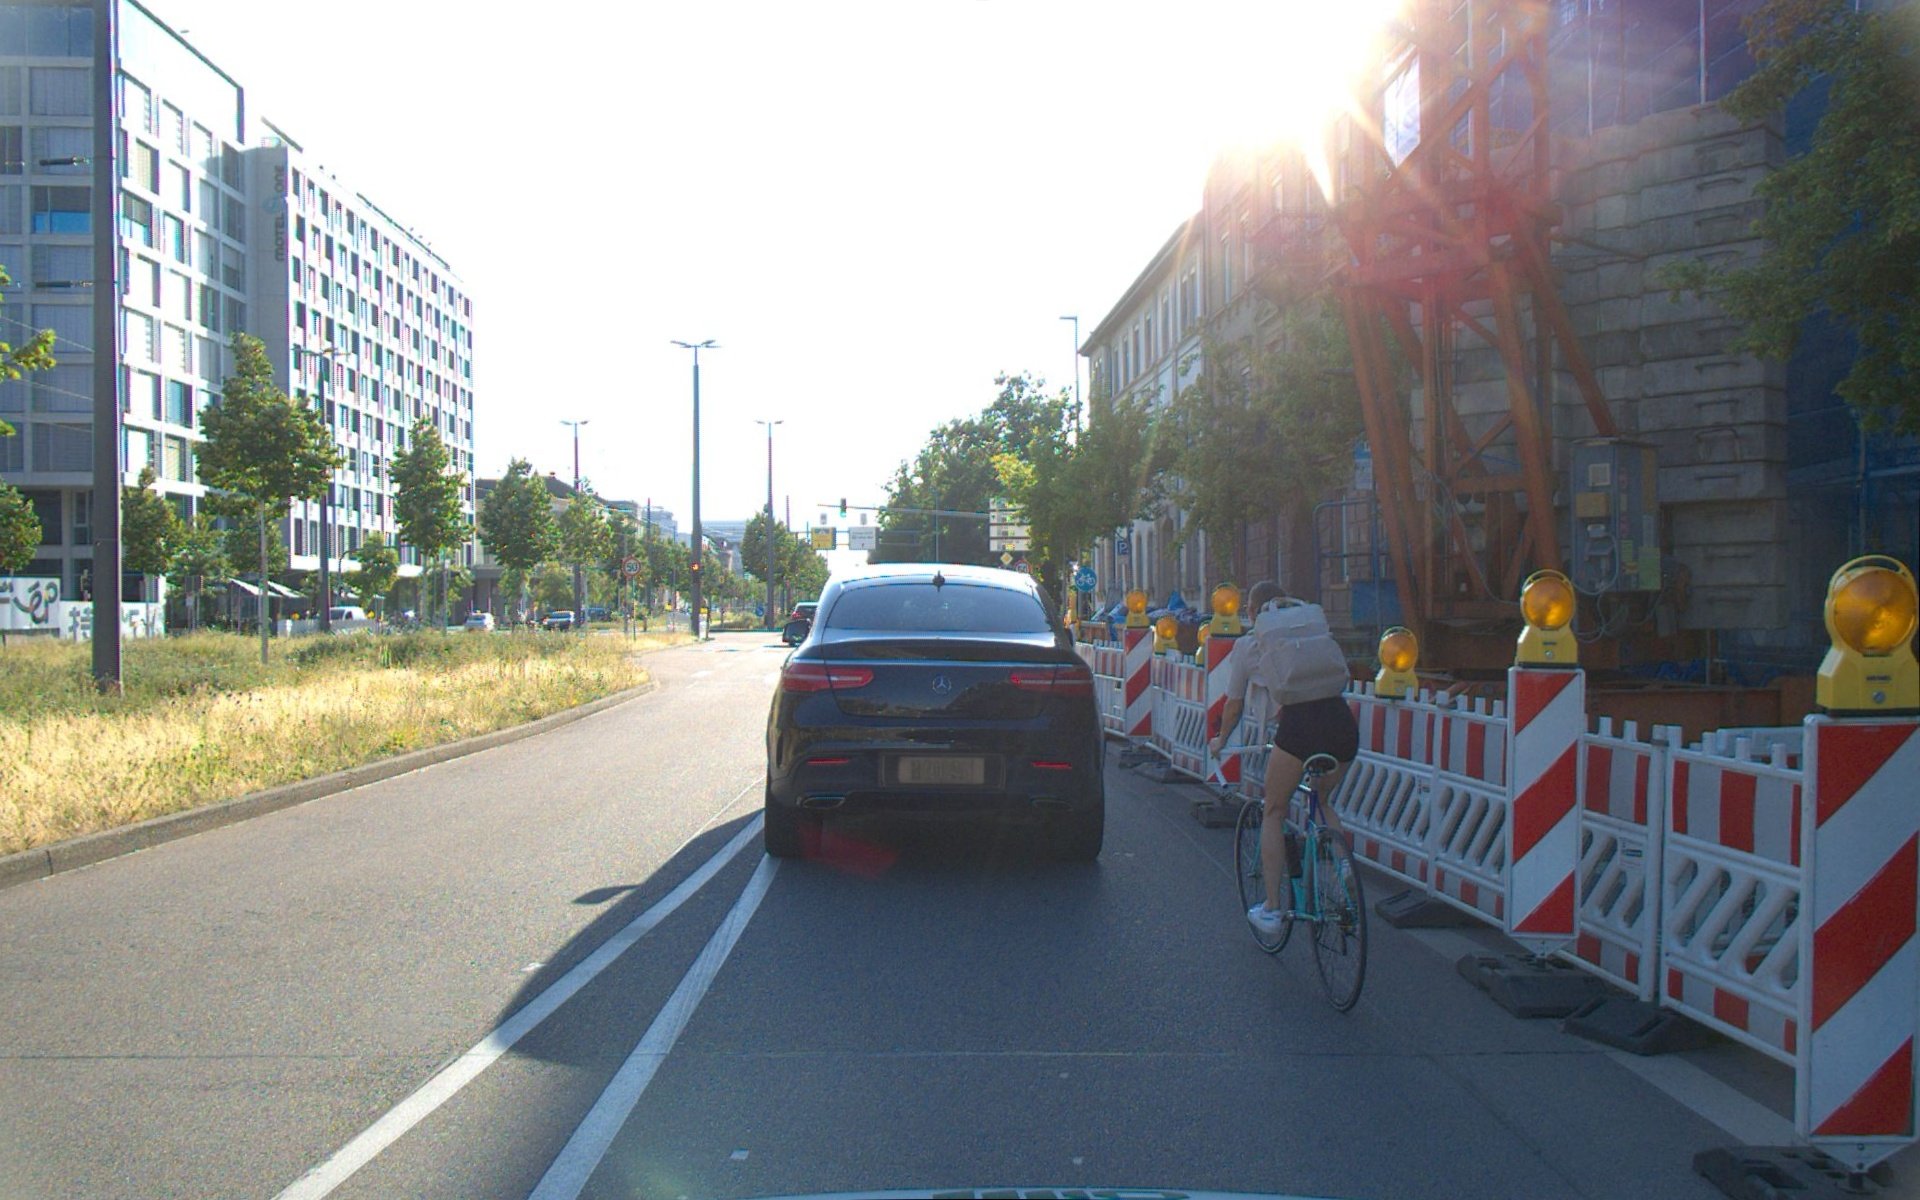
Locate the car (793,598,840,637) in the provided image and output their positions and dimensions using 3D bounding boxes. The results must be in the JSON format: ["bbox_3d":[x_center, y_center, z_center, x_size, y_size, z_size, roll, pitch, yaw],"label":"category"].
[{"bbox_3d":[-5.557,0.669,64.412,1.674,1.467,3.581,0,0,-3],"label":"car"}]

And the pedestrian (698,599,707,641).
[{"bbox_3d":[-11.088,0.857,71.191,0.327,1.794,0.418,1,-1,-3],"label":"pedestrian"}]

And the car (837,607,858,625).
[{"bbox_3d":[-9.517,1.379,140.642,1.674,1.467,3.580,1,0,-3],"label":"car"}]

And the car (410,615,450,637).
[{"bbox_3d":[-36.385,1.783,113.650,1.674,1.467,3.580,1,0,-3],"label":"car"}]

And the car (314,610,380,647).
[{"bbox_3d":[-29.923,1.368,80.842,1.753,1.713,3.639,1,0,2],"label":"car"}]

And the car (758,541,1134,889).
[{"bbox_3d":[-0.091,0.616,10.687,1.953,1.803,3.999,1,0,-1],"label":"car"}]

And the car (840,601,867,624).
[{"bbox_3d":[-6.973,0.812,108.458,1.674,1.467,3.580,1,0,-3],"label":"car"}]

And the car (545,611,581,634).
[{"bbox_3d":[-26.547,1.513,110.599,1.674,1.467,3.580,1,0,-3],"label":"car"}]

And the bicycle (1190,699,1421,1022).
[{"bbox_3d":[1.372,0.994,6.848,0.502,1.070,1.724,1,0,-3],"label":"bicycle"}]

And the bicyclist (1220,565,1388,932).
[{"bbox_3d":[1.382,0.579,6.717,0.512,1.420,0.614,1,-1,-4],"label":"bicyclist"}]
